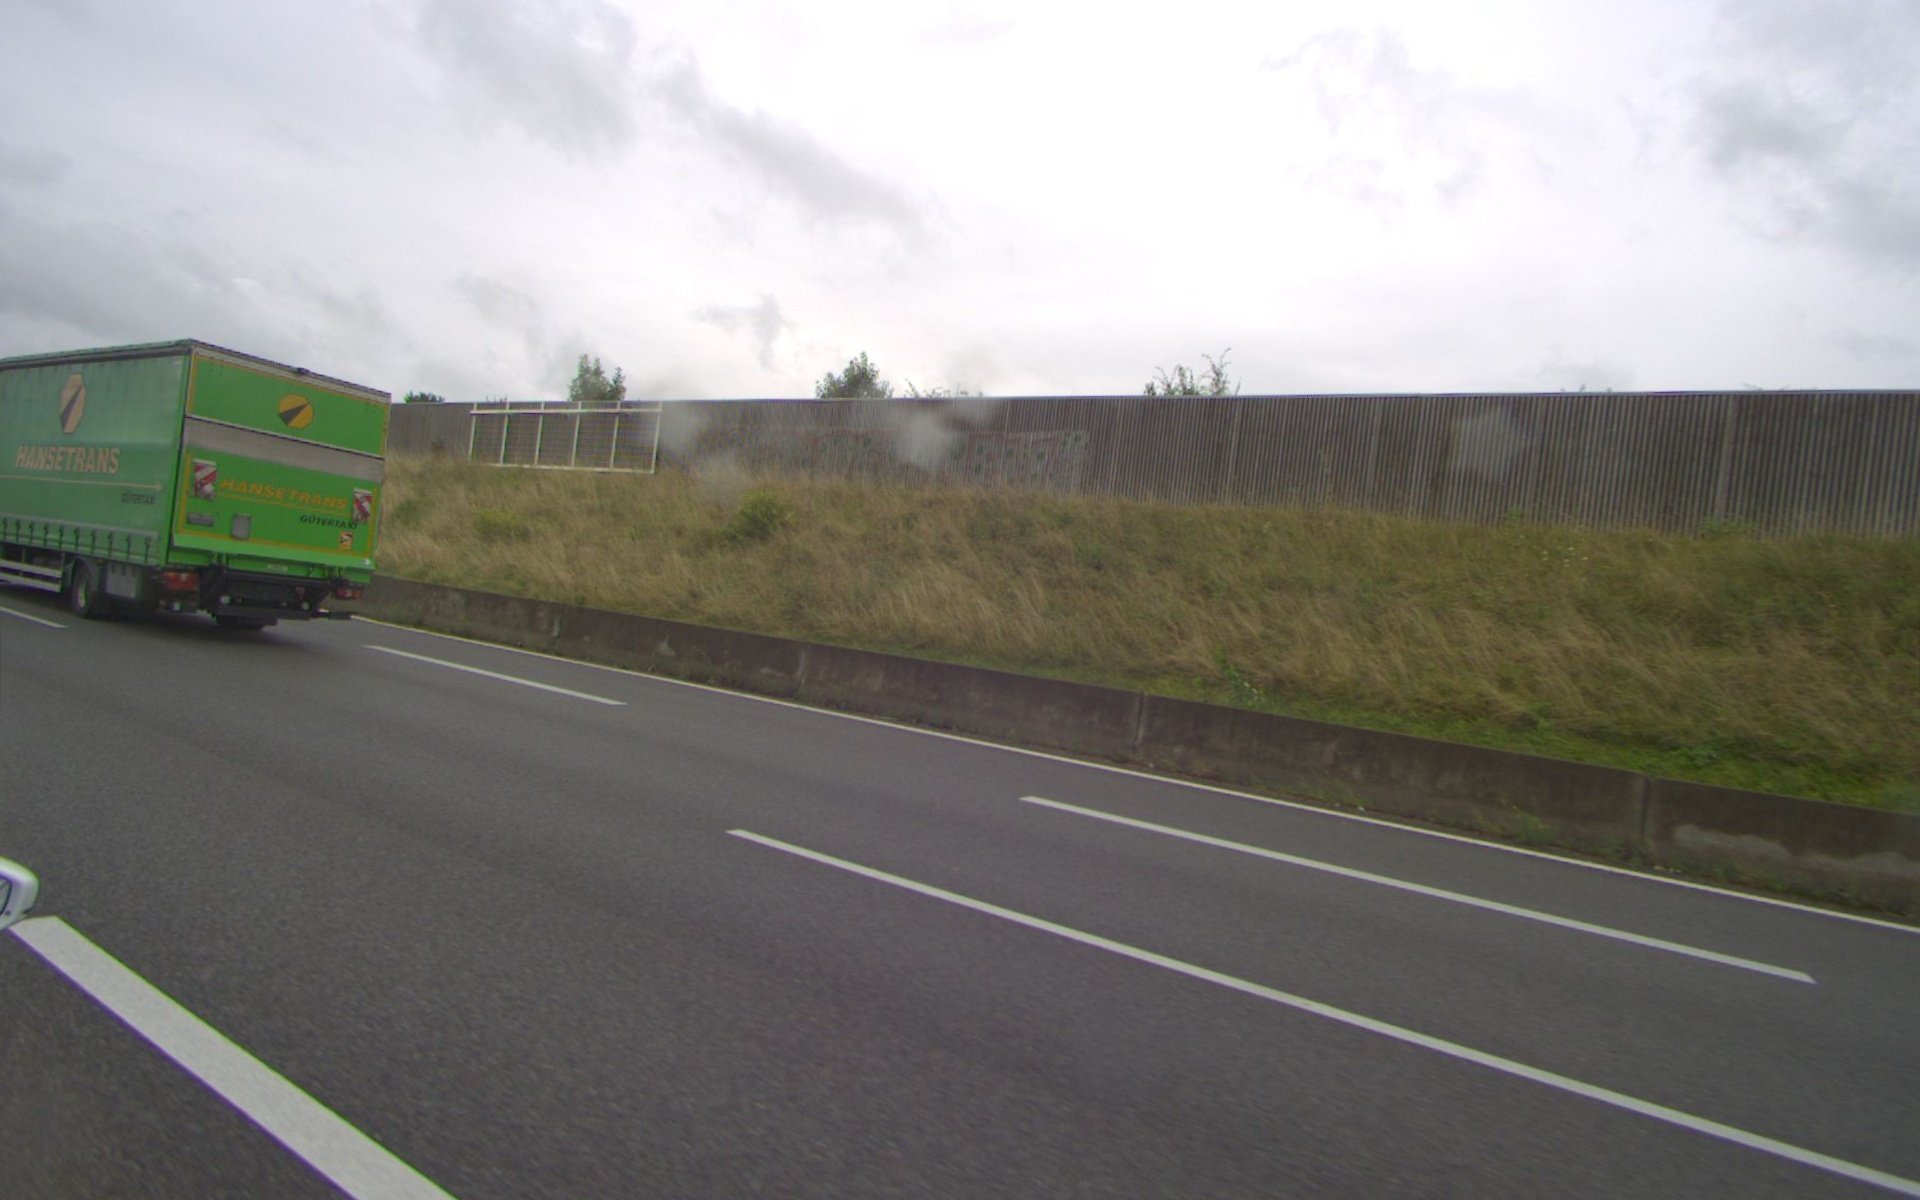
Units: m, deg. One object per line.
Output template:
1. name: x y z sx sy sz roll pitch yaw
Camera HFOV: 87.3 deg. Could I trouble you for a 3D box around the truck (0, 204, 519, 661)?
1. truck: -12.774 -2.423 16.644 11.034 5.328 4.005 7 -1 32
